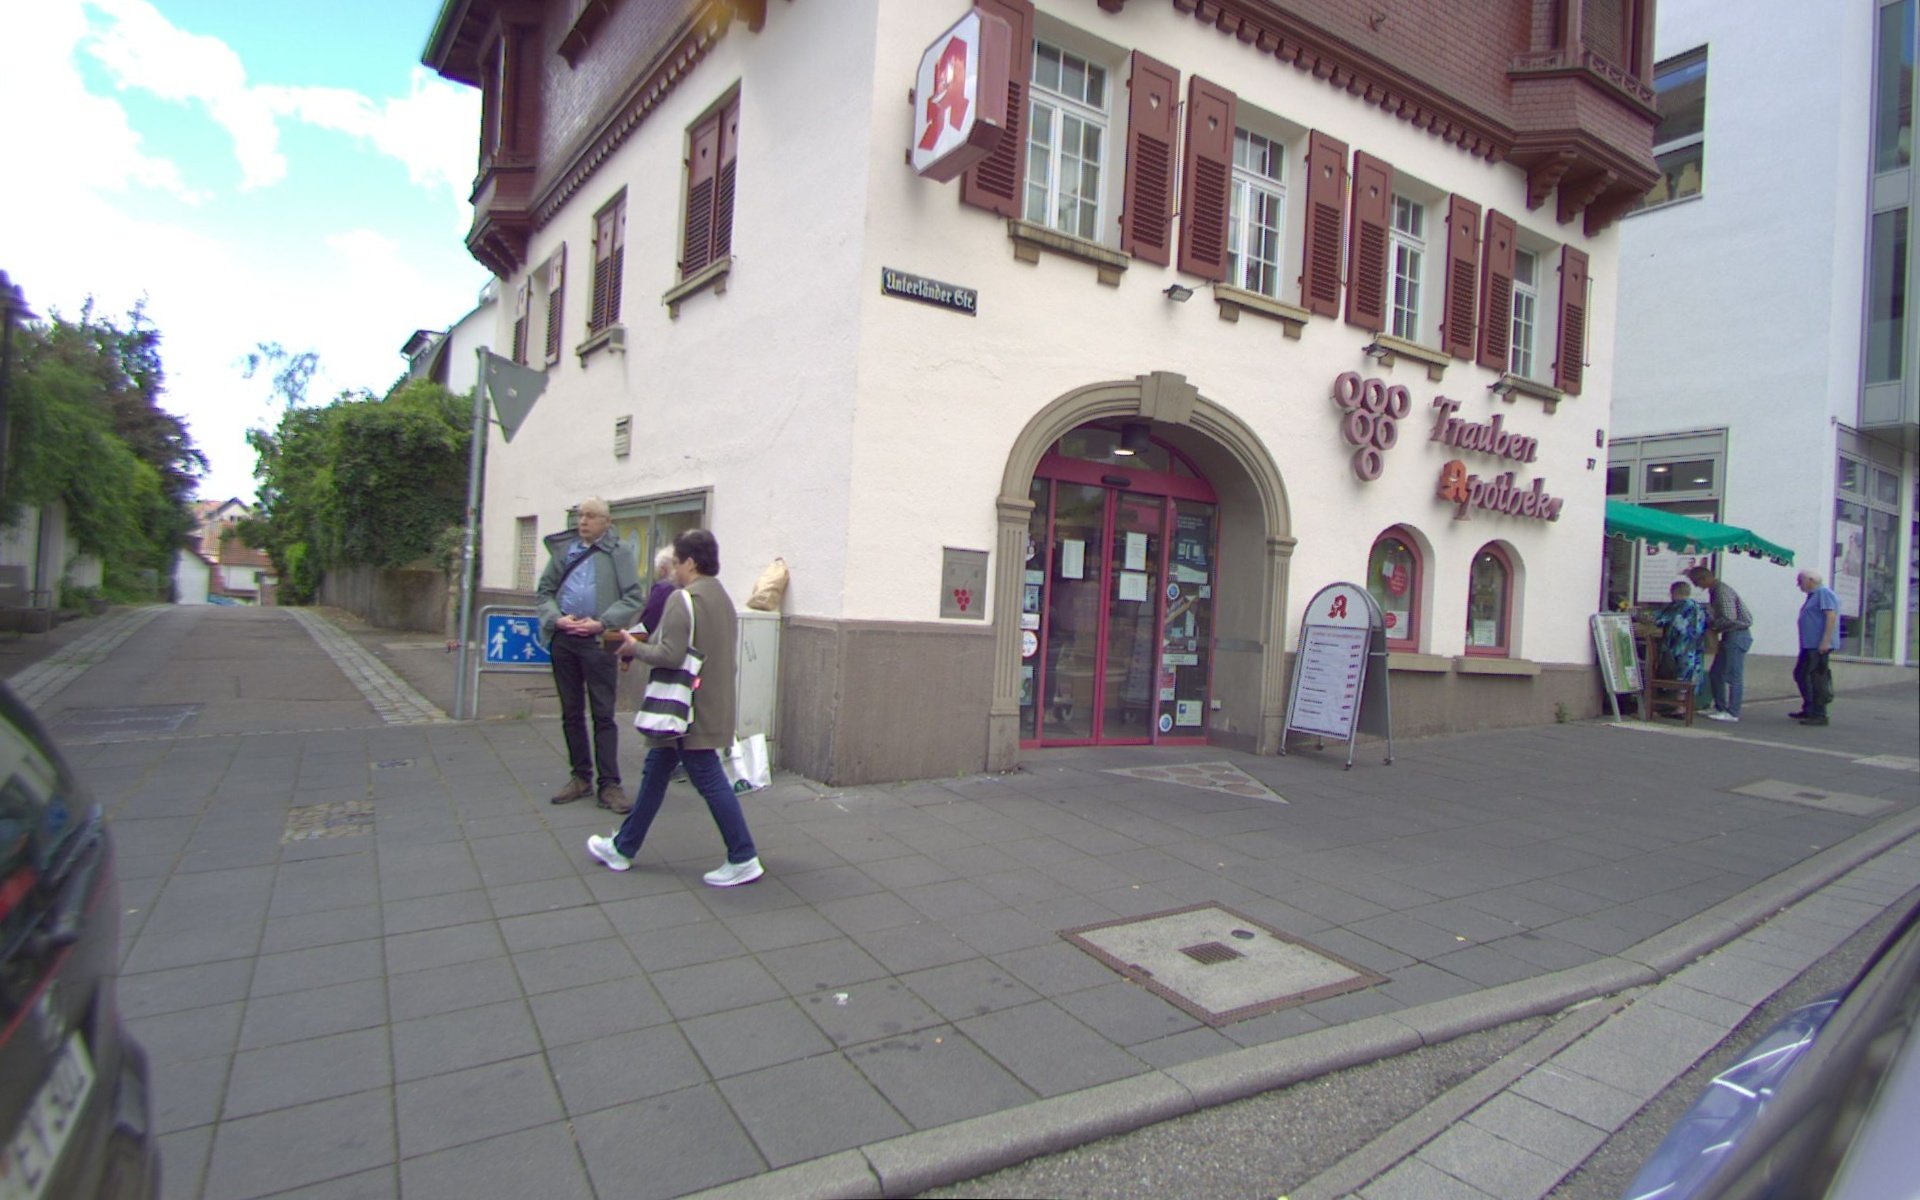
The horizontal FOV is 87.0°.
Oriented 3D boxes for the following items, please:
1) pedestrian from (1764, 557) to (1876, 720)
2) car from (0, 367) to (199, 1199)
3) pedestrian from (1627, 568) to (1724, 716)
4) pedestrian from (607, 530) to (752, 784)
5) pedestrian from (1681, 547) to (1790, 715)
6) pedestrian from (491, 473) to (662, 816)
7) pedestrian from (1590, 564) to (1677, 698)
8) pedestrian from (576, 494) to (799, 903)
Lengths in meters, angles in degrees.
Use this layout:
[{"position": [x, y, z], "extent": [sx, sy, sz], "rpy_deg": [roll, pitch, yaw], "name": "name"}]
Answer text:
[{"position": [9.751, 0.417, 11.497], "extent": [0.613, 1.789, 0.703], "rpy_deg": [1, 1, -5], "name": "pedestrian"}, {"position": [-2.767, 0.561, 0.300], "extent": [3.875, 1.574, 1.811], "rpy_deg": [0, 2, -31], "name": "car"}, {"position": [8.172, 0.457, 11.573], "extent": [0.688, 1.633, 0.627], "rpy_deg": [0, 1, -26], "name": "pedestrian"}, {"position": [-1.860, 0.328, 6.653], "extent": [0.791, 1.549, 0.728], "rpy_deg": [0, 4, -25], "name": "pedestrian"}, {"position": [9.040, 0.336, 11.830], "extent": [0.692, 1.880, 0.778], "rpy_deg": [1, 1, 12], "name": "pedestrian"}, {"position": [-2.215, 0.221, 5.811], "extent": [0.801, 1.791, 0.778], "rpy_deg": [0, 1, -30], "name": "pedestrian"}, {"position": [8.521, 0.373, 12.815], "extent": [0.688, 1.633, 0.627], "rpy_deg": [0, 1, -26], "name": "pedestrian"}, {"position": [-1.272, 0.385, 4.641], "extent": [0.852, 1.665, 0.776], "rpy_deg": [0, 2, -25], "name": "pedestrian"}]
